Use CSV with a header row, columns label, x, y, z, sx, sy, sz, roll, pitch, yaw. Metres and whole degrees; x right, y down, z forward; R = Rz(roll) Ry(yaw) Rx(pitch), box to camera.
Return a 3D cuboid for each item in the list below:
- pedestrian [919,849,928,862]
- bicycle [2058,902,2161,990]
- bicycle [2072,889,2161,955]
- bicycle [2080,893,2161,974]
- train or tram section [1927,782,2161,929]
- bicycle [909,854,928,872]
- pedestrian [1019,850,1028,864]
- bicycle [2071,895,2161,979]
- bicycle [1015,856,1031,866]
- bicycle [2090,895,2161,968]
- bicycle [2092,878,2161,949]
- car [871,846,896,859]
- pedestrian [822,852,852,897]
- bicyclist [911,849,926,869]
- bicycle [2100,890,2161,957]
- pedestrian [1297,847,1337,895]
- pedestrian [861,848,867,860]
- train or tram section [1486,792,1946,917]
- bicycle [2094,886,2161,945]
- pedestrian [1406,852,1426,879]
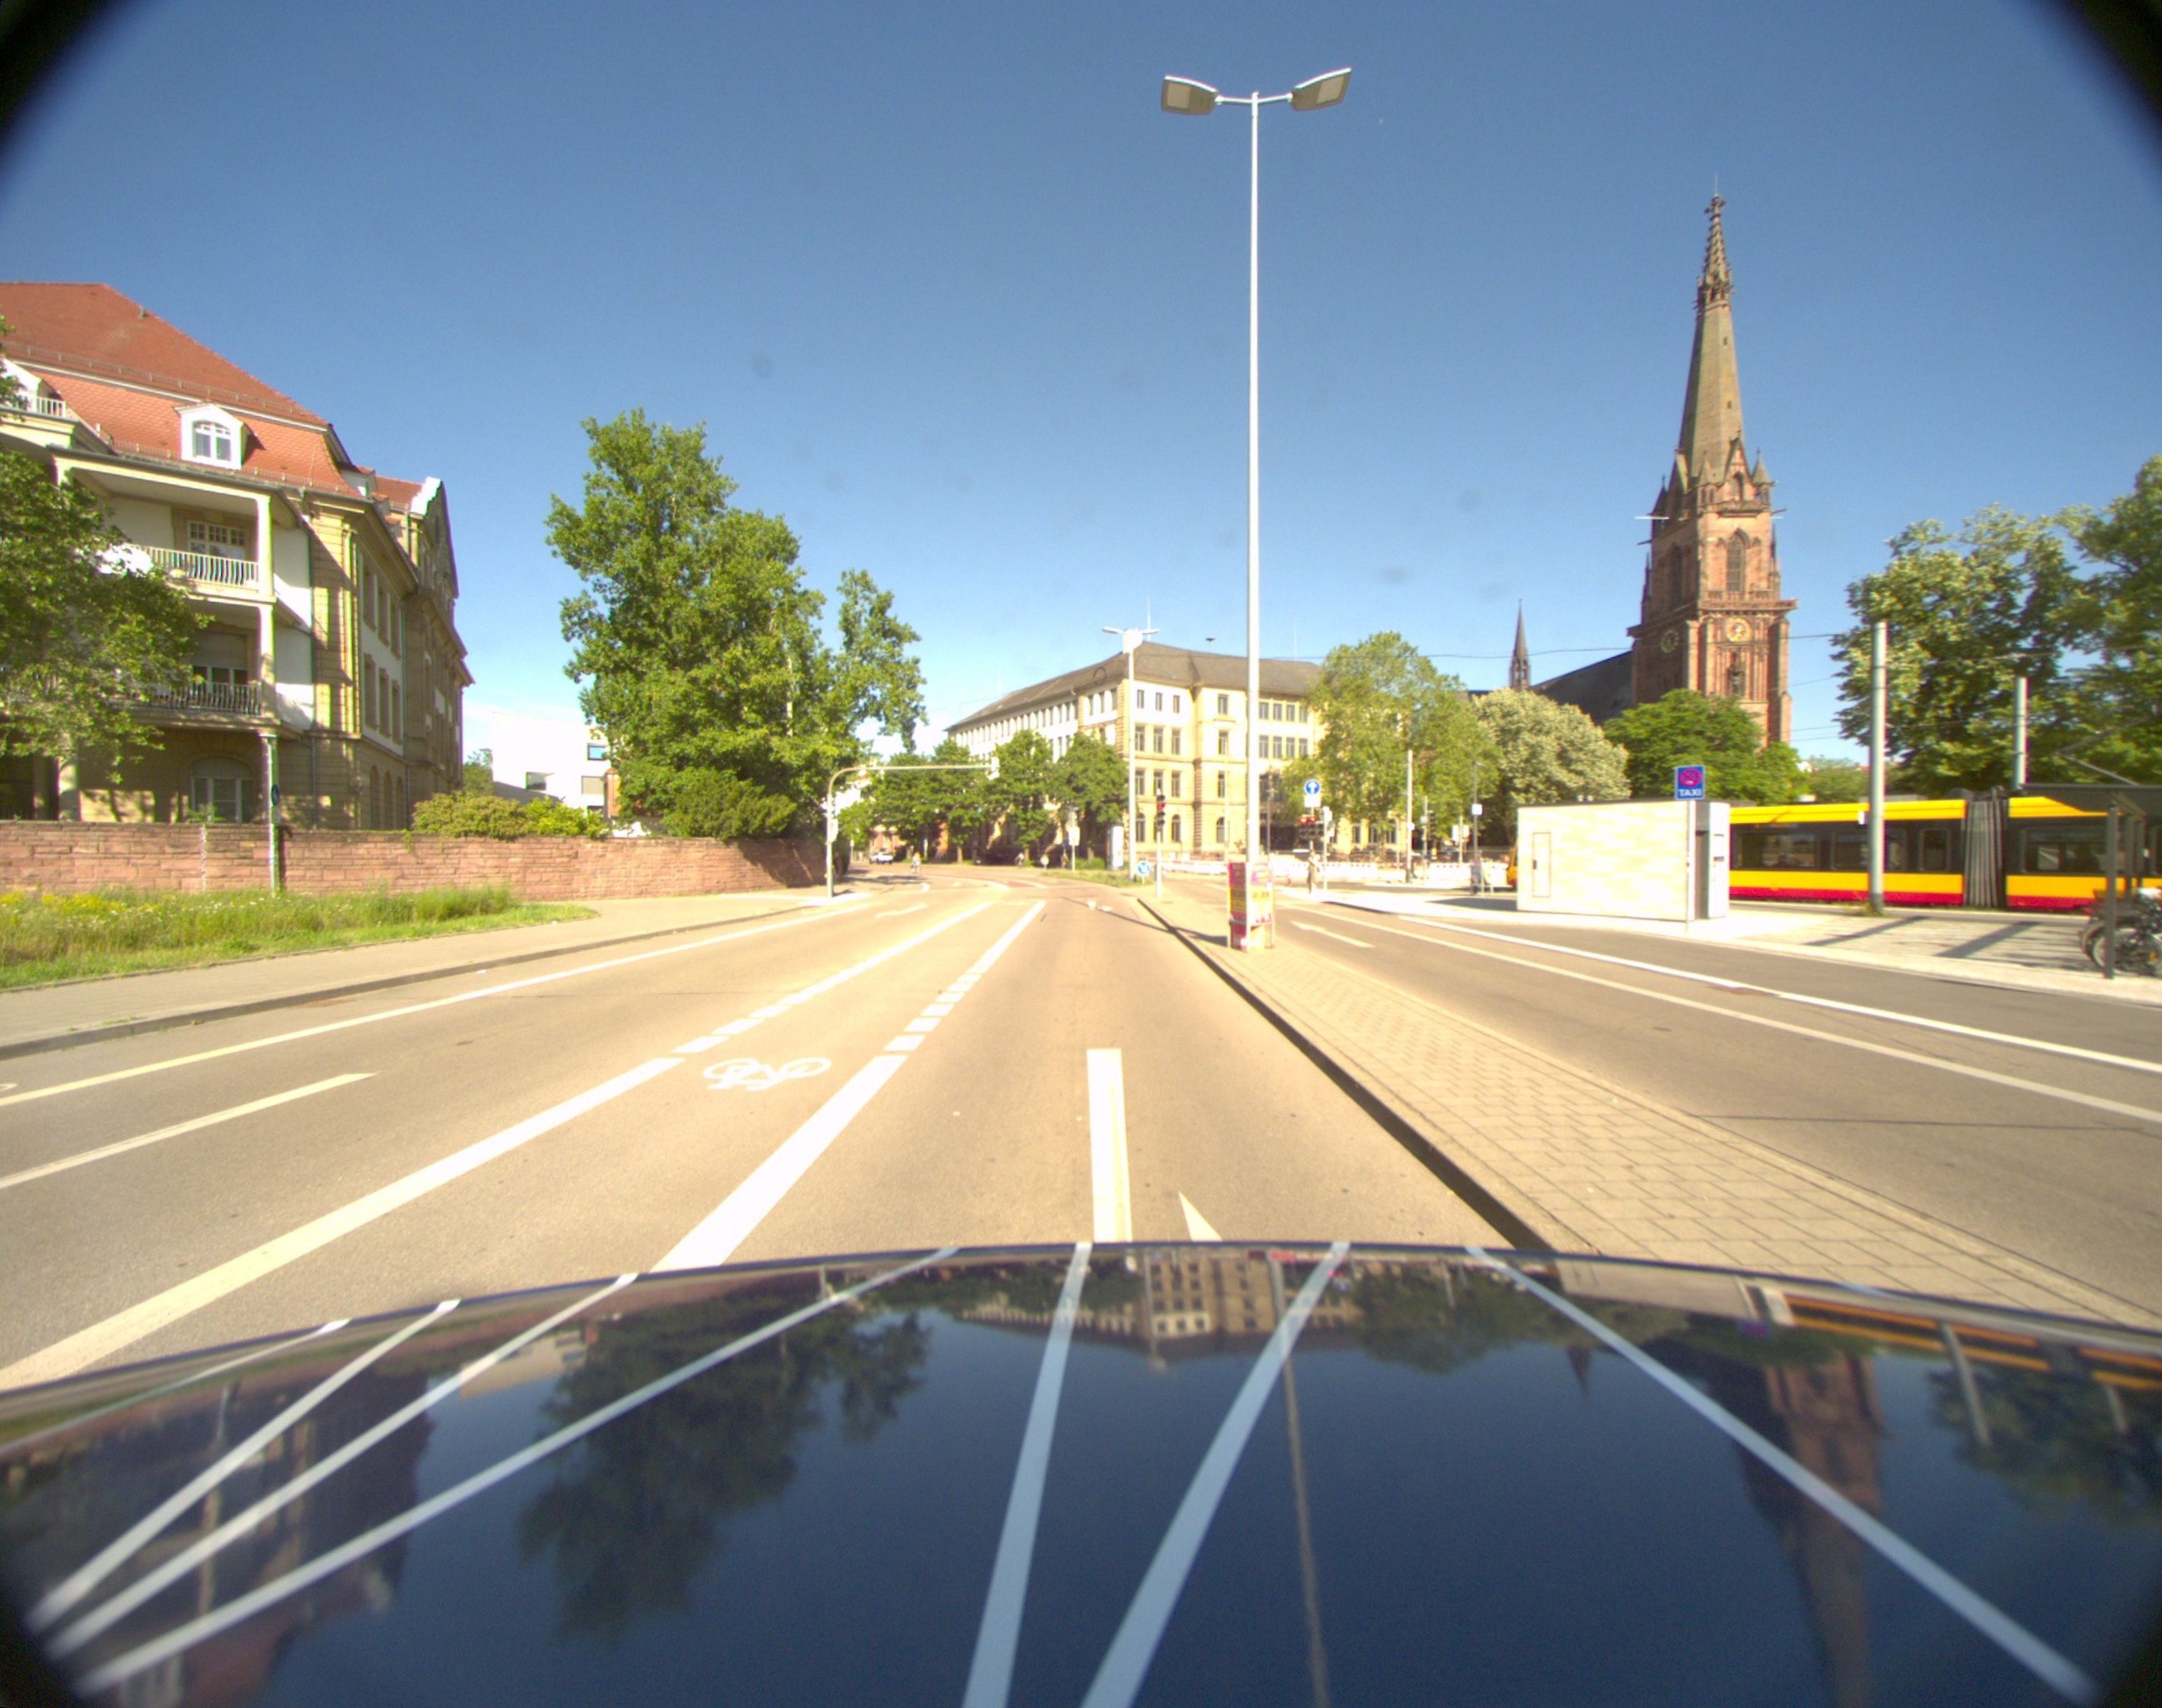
label,x,y,z,sx,sy,sz,roll,pitch,yaw
pedestrian,-21.049,0.194,101.359,0.759,1.802,0.977,-1,1,-40
bicycle,13.930,1.202,9.593,0.702,1.002,1.863,-1,2,-32
bicycle,17.806,1.133,12.461,0.630,1.002,1.826,-1,1,-32
bicycle,15.134,1.112,10.328,0.574,1.045,1.826,-1,1,-32
train or tram section,28.833,0.033,17.431,2.806,3.580,12.294,-1,1,-35
bicycle,-13.371,0.720,62.350,0.763,1.360,2.731,-1,1,-28
pedestrian,-5.860,0.310,77.567,0.597,1.394,0.644,-3,2,-38
bicycle,14.664,1.126,10.062,0.630,1.059,1.826,-1,1,-32
bicycle,-5.904,0.679,77.647,0.602,1.000,1.982,-3,1,-39
bicycle,16.172,1.157,11.000,0.630,1.002,1.826,-1,1,-32
bicycle,18.940,1.043,13.049,0.630,1.173,1.826,-1,1,-32
car,-25.449,-0.191,97.790,1.851,1.543,4.325,1,1,-31
pedestrian,-10.307,0.844,32.103,0.960,1.839,0.731,1,1,4
bicyclist,-13.363,0.406,62.373,0.871,1.551,1.277,-1,1,-29
bicycle,17.158,1.095,11.625,0.630,1.002,1.826,-1,1,-32
pedestrian,9.239,0.658,29.759,1.230,1.845,0.826,0,1,-18
pedestrian,-34.602,-0.019,121.385,0.758,1.802,0.978,-1,1,-24
train or tram section,21.766,-0.023,27.612,2.806,3.580,12.504,-1,1,-35
bicycle,19.519,1.119,13.457,0.630,1.002,1.826,-1,1,-32
pedestrian,21.938,0.716,49.717,0.807,1.731,0.933,-1,1,-35
